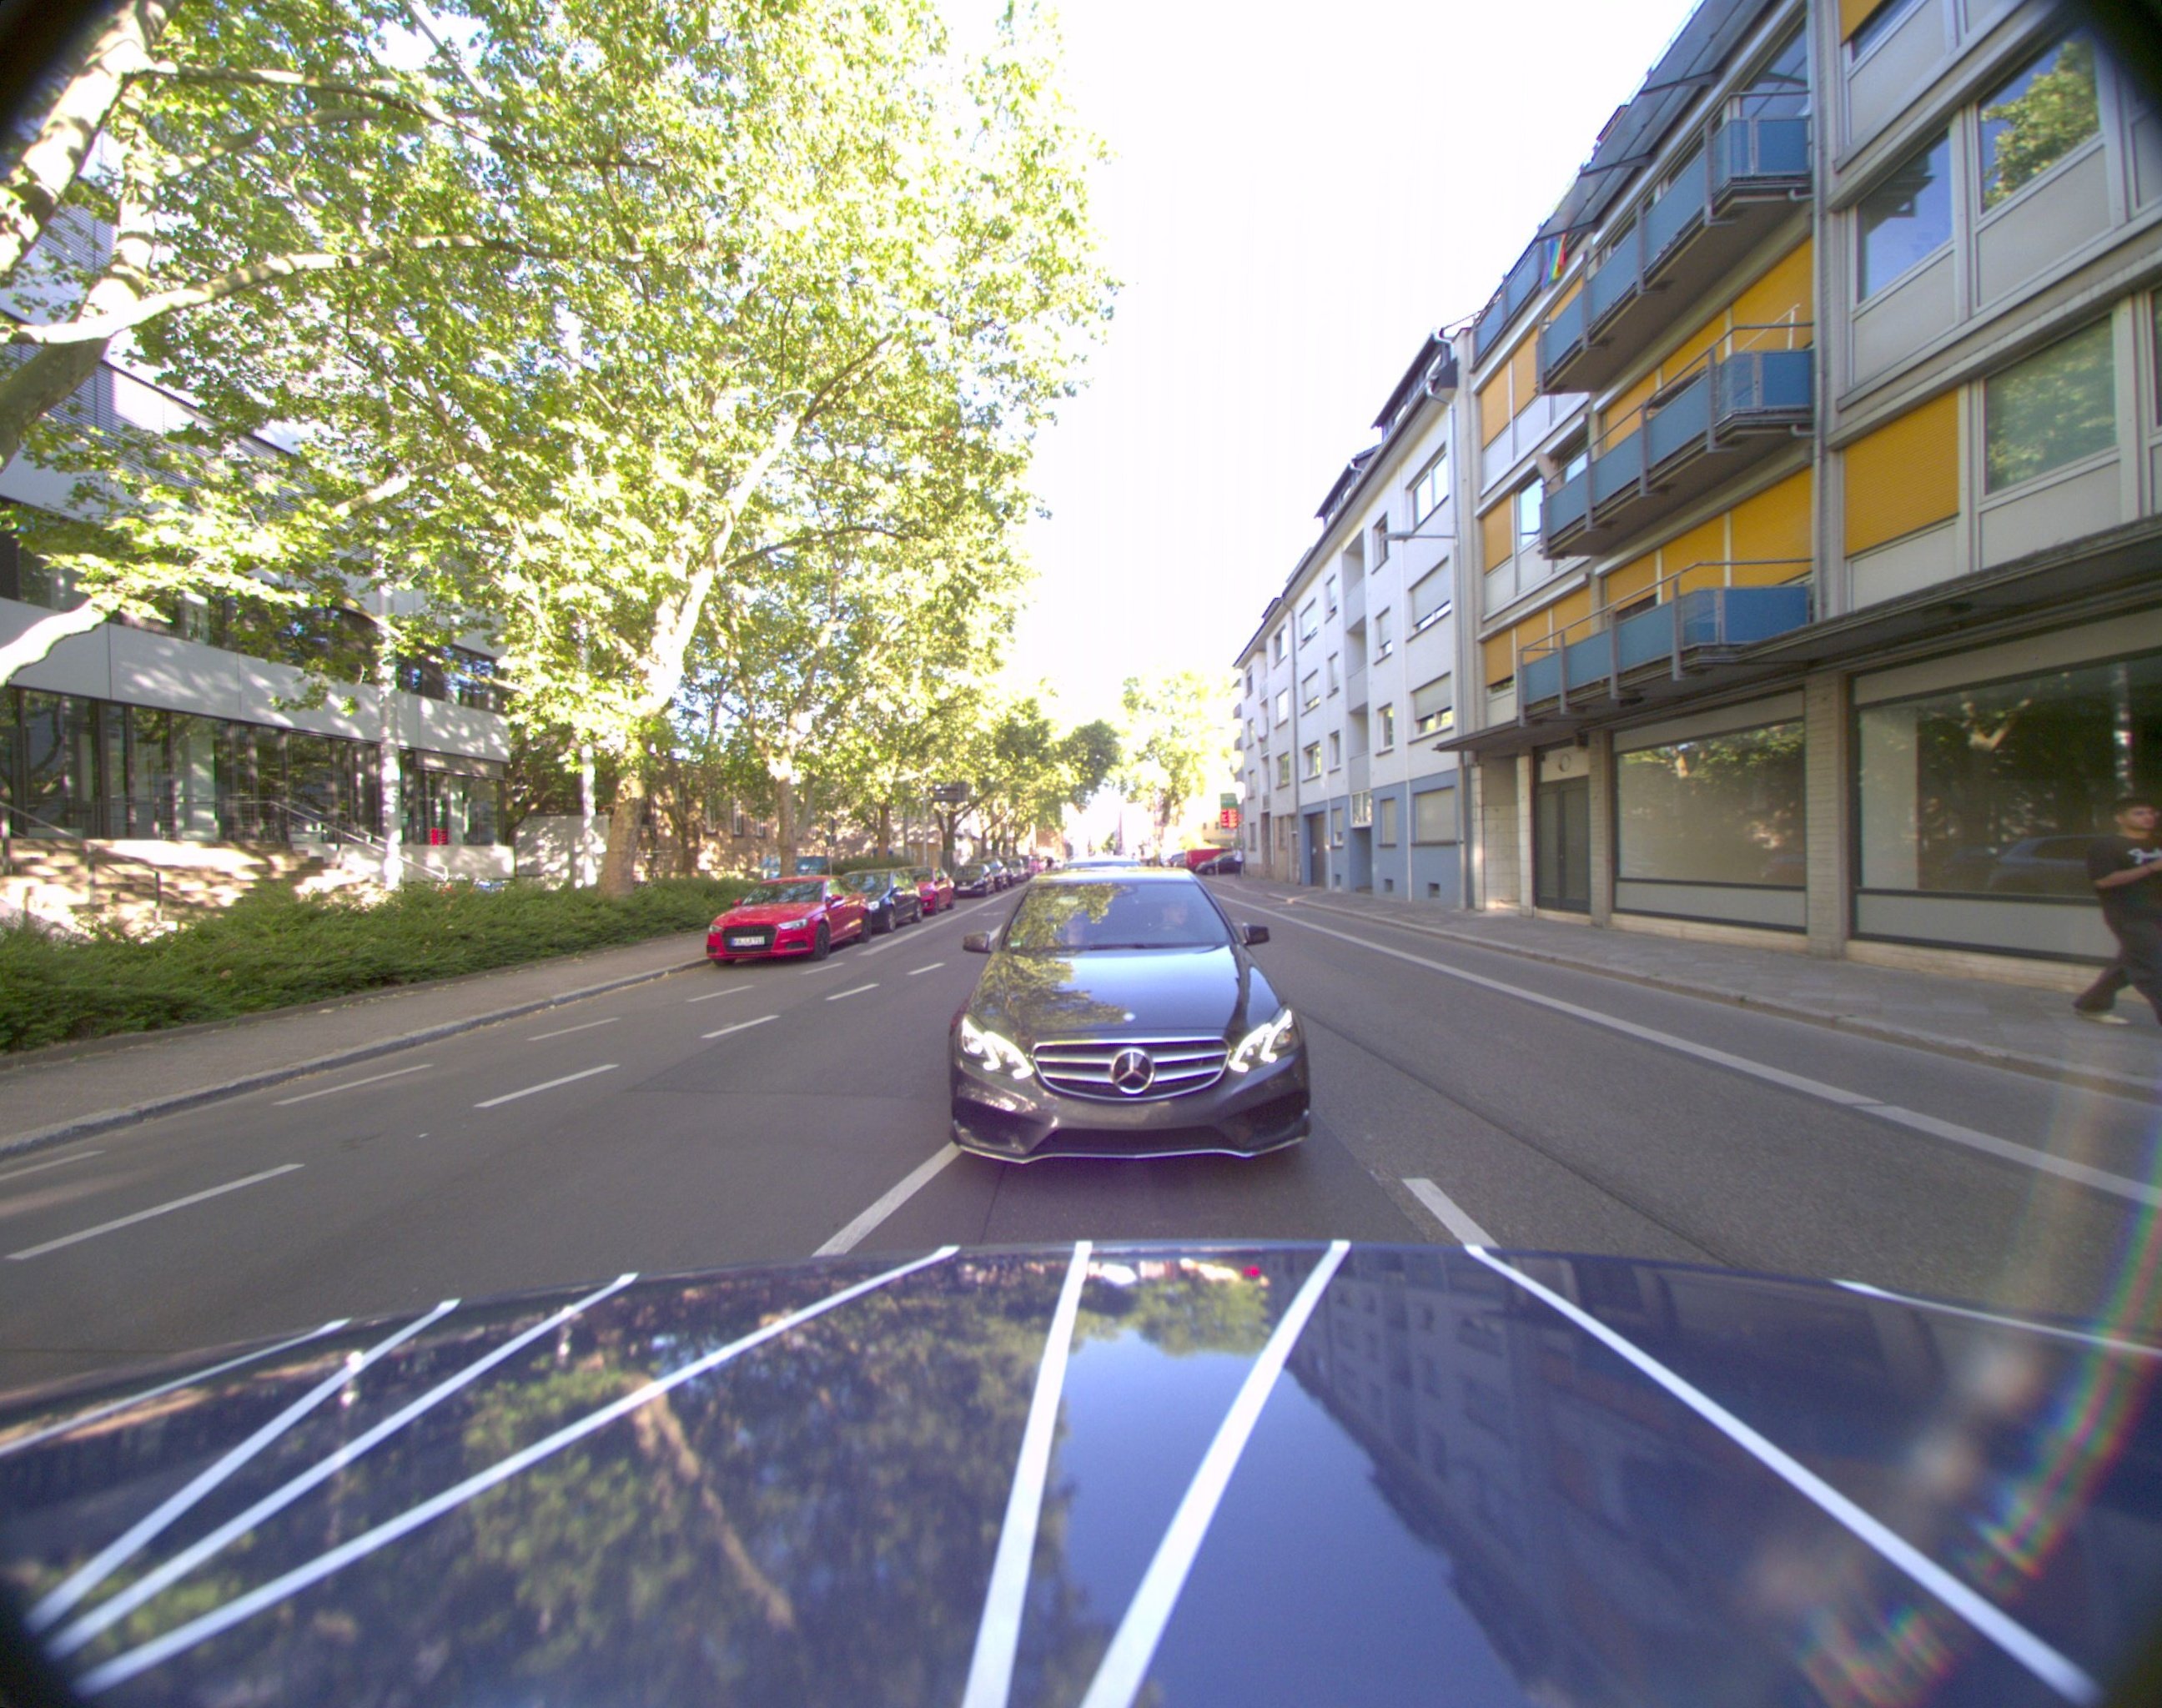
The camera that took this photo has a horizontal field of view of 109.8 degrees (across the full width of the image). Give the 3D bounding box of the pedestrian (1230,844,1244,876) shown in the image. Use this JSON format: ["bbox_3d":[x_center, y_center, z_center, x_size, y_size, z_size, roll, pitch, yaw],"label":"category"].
[{"bbox_3d":[8.532,0.330,41.573,0.608,1.737,0.756,-2,1,1],"label":"pedestrian"}]

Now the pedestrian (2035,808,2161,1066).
[{"bbox_3d":[7.676,0.556,5.443,0.663,1.761,0.793,-2,1,1],"label":"pedestrian"}]

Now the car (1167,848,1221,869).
[{"bbox_3d":[11.277,0.408,76.204,5.054,1.926,2.161,-2,0,1],"label":"car"}]

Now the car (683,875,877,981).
[{"bbox_3d":[-5.123,1.182,13.581,1.755,1.400,4.000,-3,0,1],"label":"car"}]

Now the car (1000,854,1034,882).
[{"bbox_3d":[-4.269,0.882,50.928,1.755,1.718,4.447,-3,0,1],"label":"car"}]

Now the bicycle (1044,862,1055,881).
[{"bbox_3d":[-1.821,1.028,44.041,0.574,1.053,1.595,-2,0,1],"label":"bicycle"}]

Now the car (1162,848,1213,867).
[{"bbox_3d":[11.327,0.352,81.168,5.042,1.926,2.315,-2,0,1],"label":"car"}]

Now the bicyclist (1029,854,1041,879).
[{"bbox_3d":[-2.669,0.715,44.149,0.650,1.427,0.741,-2,1,1],"label":"bicyclist"}]

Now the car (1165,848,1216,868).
[{"bbox_3d":[11.292,0.377,78.702,4.991,1.926,2.083,-2,0,1],"label":"car"}]

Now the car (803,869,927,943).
[{"bbox_3d":[-5.082,1.173,18.426,1.755,1.424,3.909,-3,0,1],"label":"car"}]

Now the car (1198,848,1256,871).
[{"bbox_3d":[10.917,0.394,56.974,3.997,1.552,1.743,-2,0,1],"label":"car"}]

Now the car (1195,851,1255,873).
[{"bbox_3d":[10.361,0.565,54.764,3.997,1.412,1.743,-2,0,1],"label":"car"}]

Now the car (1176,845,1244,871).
[{"bbox_3d":[10.641,0.298,63.088,5.223,1.969,2.257,-2,0,1],"label":"car"}]

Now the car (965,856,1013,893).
[{"bbox_3d":[-4.560,0.977,38.247,1.755,1.644,4.174,-3,0,1],"label":"car"}]

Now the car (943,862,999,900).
[{"bbox_3d":[-4.747,1.119,33.277,1.755,1.424,3.909,-3,0,1],"label":"car"}]

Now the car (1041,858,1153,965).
[{"bbox_3d":[0.273,0.887,13.593,1.667,1.563,4.000,-1,0,1],"label":"car"}]

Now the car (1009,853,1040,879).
[{"bbox_3d":[-4.098,0.824,55.739,1.755,1.753,4.447,-3,0,1],"label":"car"}]

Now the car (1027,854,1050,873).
[{"bbox_3d":[-3.998,0.906,72.158,1.755,1.652,4.447,-3,0,1],"label":"car"}]

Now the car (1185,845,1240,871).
[{"bbox_3d":[10.335,0.304,60.063,3.997,1.926,1.867,-2,0,1],"label":"car"}]

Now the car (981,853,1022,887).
[{"bbox_3d":[-4.550,0.872,44.046,1.755,1.810,4.447,-3,0,1],"label":"car"}]

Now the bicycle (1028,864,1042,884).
[{"bbox_3d":[-2.662,1.145,44.096,0.650,1.053,1.595,-2,0,1],"label":"bicycle"}]

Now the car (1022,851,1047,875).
[{"bbox_3d":[-3.992,0.731,66.373,1.755,1.941,4.447,-3,0,1],"label":"car"}]

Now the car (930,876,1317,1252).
[{"bbox_3d":[0.214,0.984,5.340,1.667,1.499,4.000,-1,0,1],"label":"car"}]

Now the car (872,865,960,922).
[{"bbox_3d":[-5.032,1.147,23.639,1.755,1.459,3.909,-3,0,1],"label":"car"}]

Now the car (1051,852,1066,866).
[{"bbox_3d":[-3.009,0.654,103.186,1.755,1.652,4.447,-3,0,1],"label":"car"}]

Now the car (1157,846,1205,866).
[{"bbox_3d":[11.195,0.205,85.504,5.143,2.135,2.187,-2,0,1],"label":"car"}]

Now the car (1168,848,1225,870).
[{"bbox_3d":[11.104,0.447,73.504,5.143,1.926,2.187,-2,0,1],"label":"car"}]
